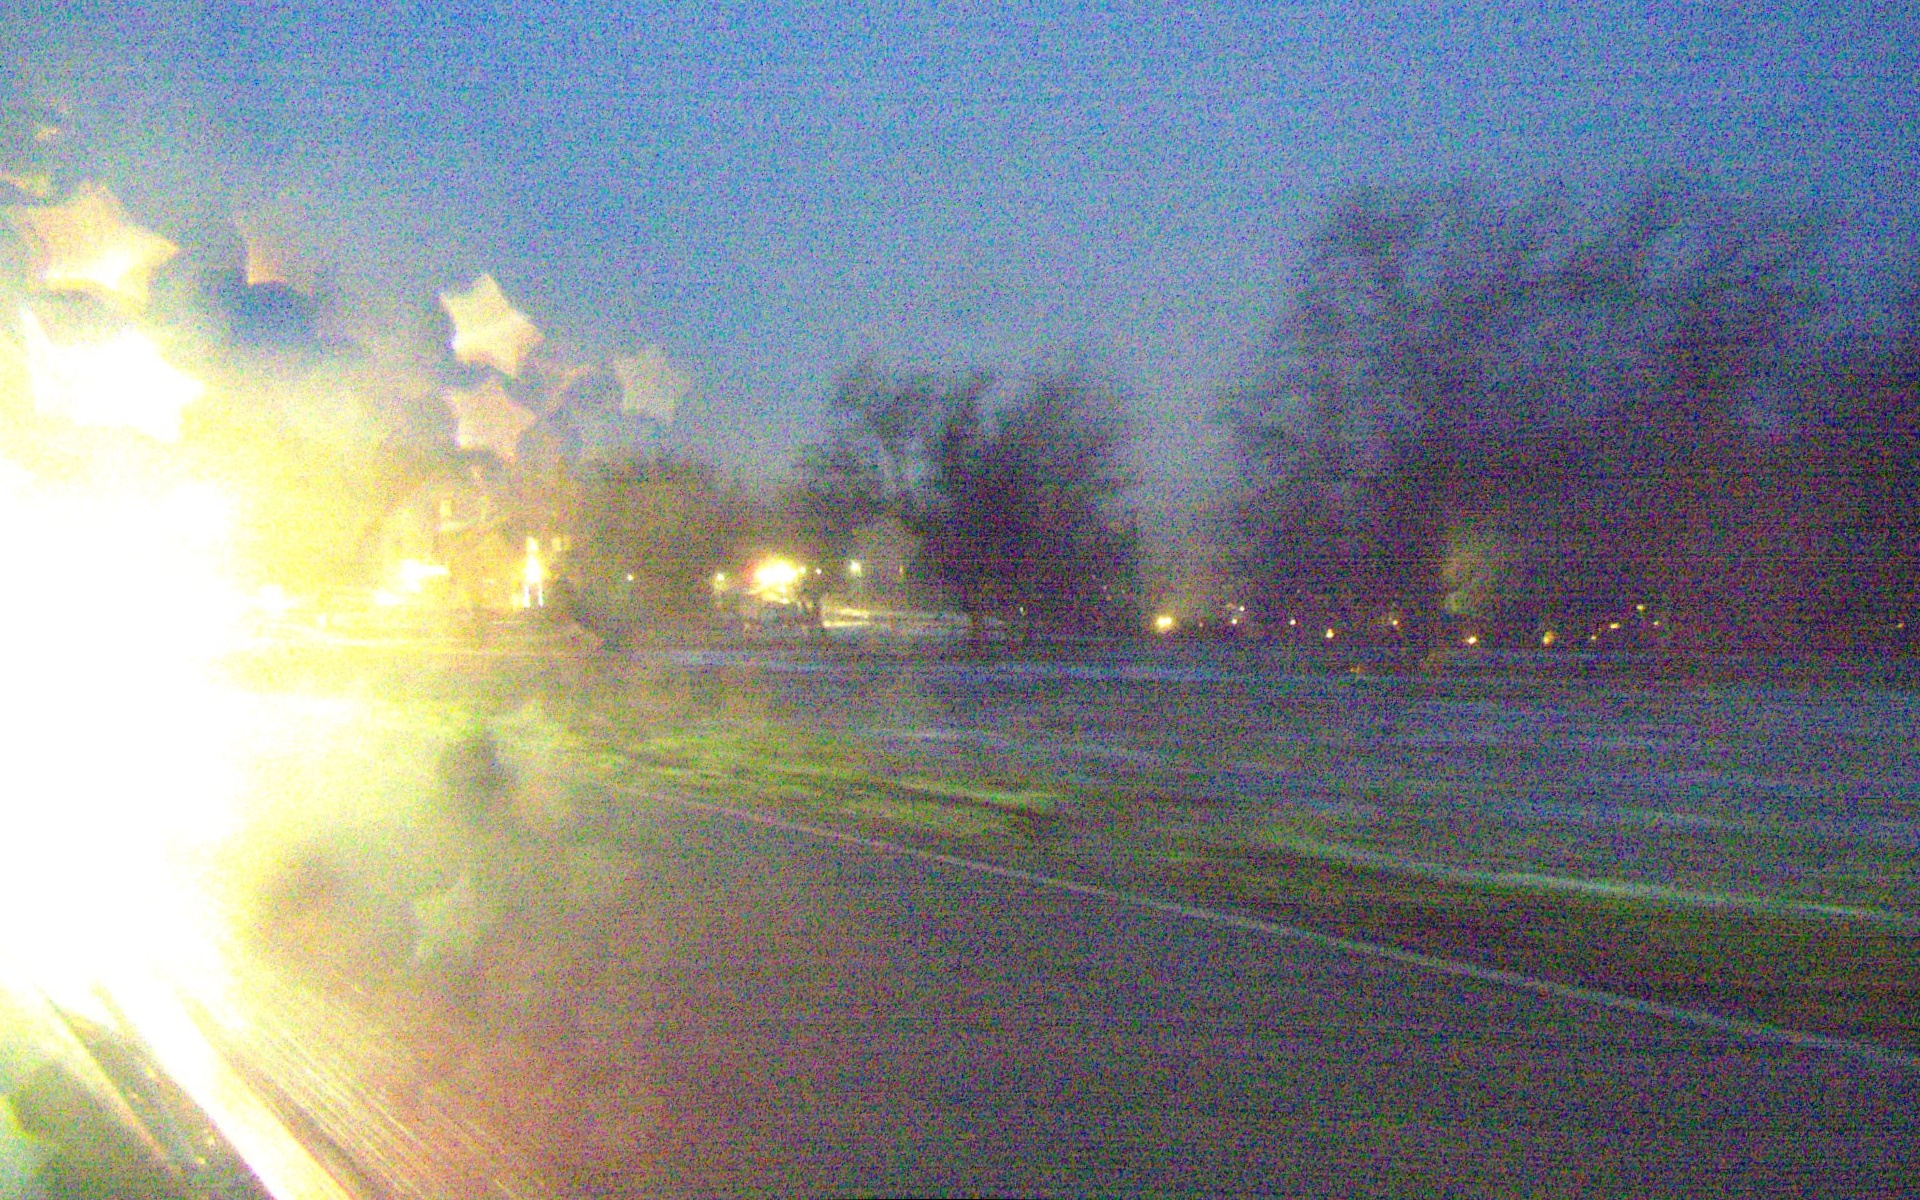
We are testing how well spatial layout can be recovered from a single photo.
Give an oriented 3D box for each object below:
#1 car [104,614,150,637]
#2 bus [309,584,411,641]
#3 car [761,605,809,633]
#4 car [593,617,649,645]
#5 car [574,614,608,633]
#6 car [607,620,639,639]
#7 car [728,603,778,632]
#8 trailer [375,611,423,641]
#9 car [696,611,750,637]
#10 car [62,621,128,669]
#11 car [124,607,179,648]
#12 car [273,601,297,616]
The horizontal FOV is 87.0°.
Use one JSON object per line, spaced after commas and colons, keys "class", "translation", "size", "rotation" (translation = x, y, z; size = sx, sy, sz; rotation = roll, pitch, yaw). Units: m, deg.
{"class": "car", "translation": [-57.201, 1.749, 69.567], "size": [1.899, 1.521, 4.107], "rotation": [1, -2, -33]}
{"class": "bus", "translation": [-45.438, 0.799, 76.418], "size": [13.057, 3.897, 2.862], "rotation": [1, 1, 42]}
{"class": "car", "translation": [-14.185, 1.514, 81.898], "size": [4.000, 2.071, 1.740], "rotation": [2, 4, 43]}
{"class": "car", "translation": [-24.392, 2.201, 72.745], "size": [1.915, 1.709, 4.631], "rotation": [-3, 4, -45]}
{"class": "car", "translation": [-34.274, 2.187, 94.092], "size": [1.833, 1.408, 4.044], "rotation": [3, 3, -4]}
{"class": "car", "translation": [-31.312, 2.745, 94.150], "size": [1.833, 1.408, 4.044], "rotation": [3, 3, -4]}
{"class": "car", "translation": [-16.507, 1.388, 80.620], "size": [4.000, 2.071, 1.972], "rotation": [2, 4, 43]}
{"class": "trailer", "translation": [-34.184, 1.569, 61.632], "size": [1.789, 1.690, 4.108], "rotation": [3, -2, -39]}
{"class": "car", "translation": [-18.473, 1.852, 78.683], "size": [1.915, 1.709, 4.631], "rotation": [-3, 4, -45]}
{"class": "car", "translation": [-29.563, 1.488, 34.633], "size": [1.615, 1.521, 4.102], "rotation": [2, -2, -40]}
{"class": "car", "translation": [-44.689, 1.481, 56.034], "size": [1.967, 2.028, 4.858], "rotation": [-3, 2, -34]}
{"class": "car", "translation": [-69.528, 0.873, 104.285], "size": [1.612, 1.522, 4.130], "rotation": [2, -2, -28]}
